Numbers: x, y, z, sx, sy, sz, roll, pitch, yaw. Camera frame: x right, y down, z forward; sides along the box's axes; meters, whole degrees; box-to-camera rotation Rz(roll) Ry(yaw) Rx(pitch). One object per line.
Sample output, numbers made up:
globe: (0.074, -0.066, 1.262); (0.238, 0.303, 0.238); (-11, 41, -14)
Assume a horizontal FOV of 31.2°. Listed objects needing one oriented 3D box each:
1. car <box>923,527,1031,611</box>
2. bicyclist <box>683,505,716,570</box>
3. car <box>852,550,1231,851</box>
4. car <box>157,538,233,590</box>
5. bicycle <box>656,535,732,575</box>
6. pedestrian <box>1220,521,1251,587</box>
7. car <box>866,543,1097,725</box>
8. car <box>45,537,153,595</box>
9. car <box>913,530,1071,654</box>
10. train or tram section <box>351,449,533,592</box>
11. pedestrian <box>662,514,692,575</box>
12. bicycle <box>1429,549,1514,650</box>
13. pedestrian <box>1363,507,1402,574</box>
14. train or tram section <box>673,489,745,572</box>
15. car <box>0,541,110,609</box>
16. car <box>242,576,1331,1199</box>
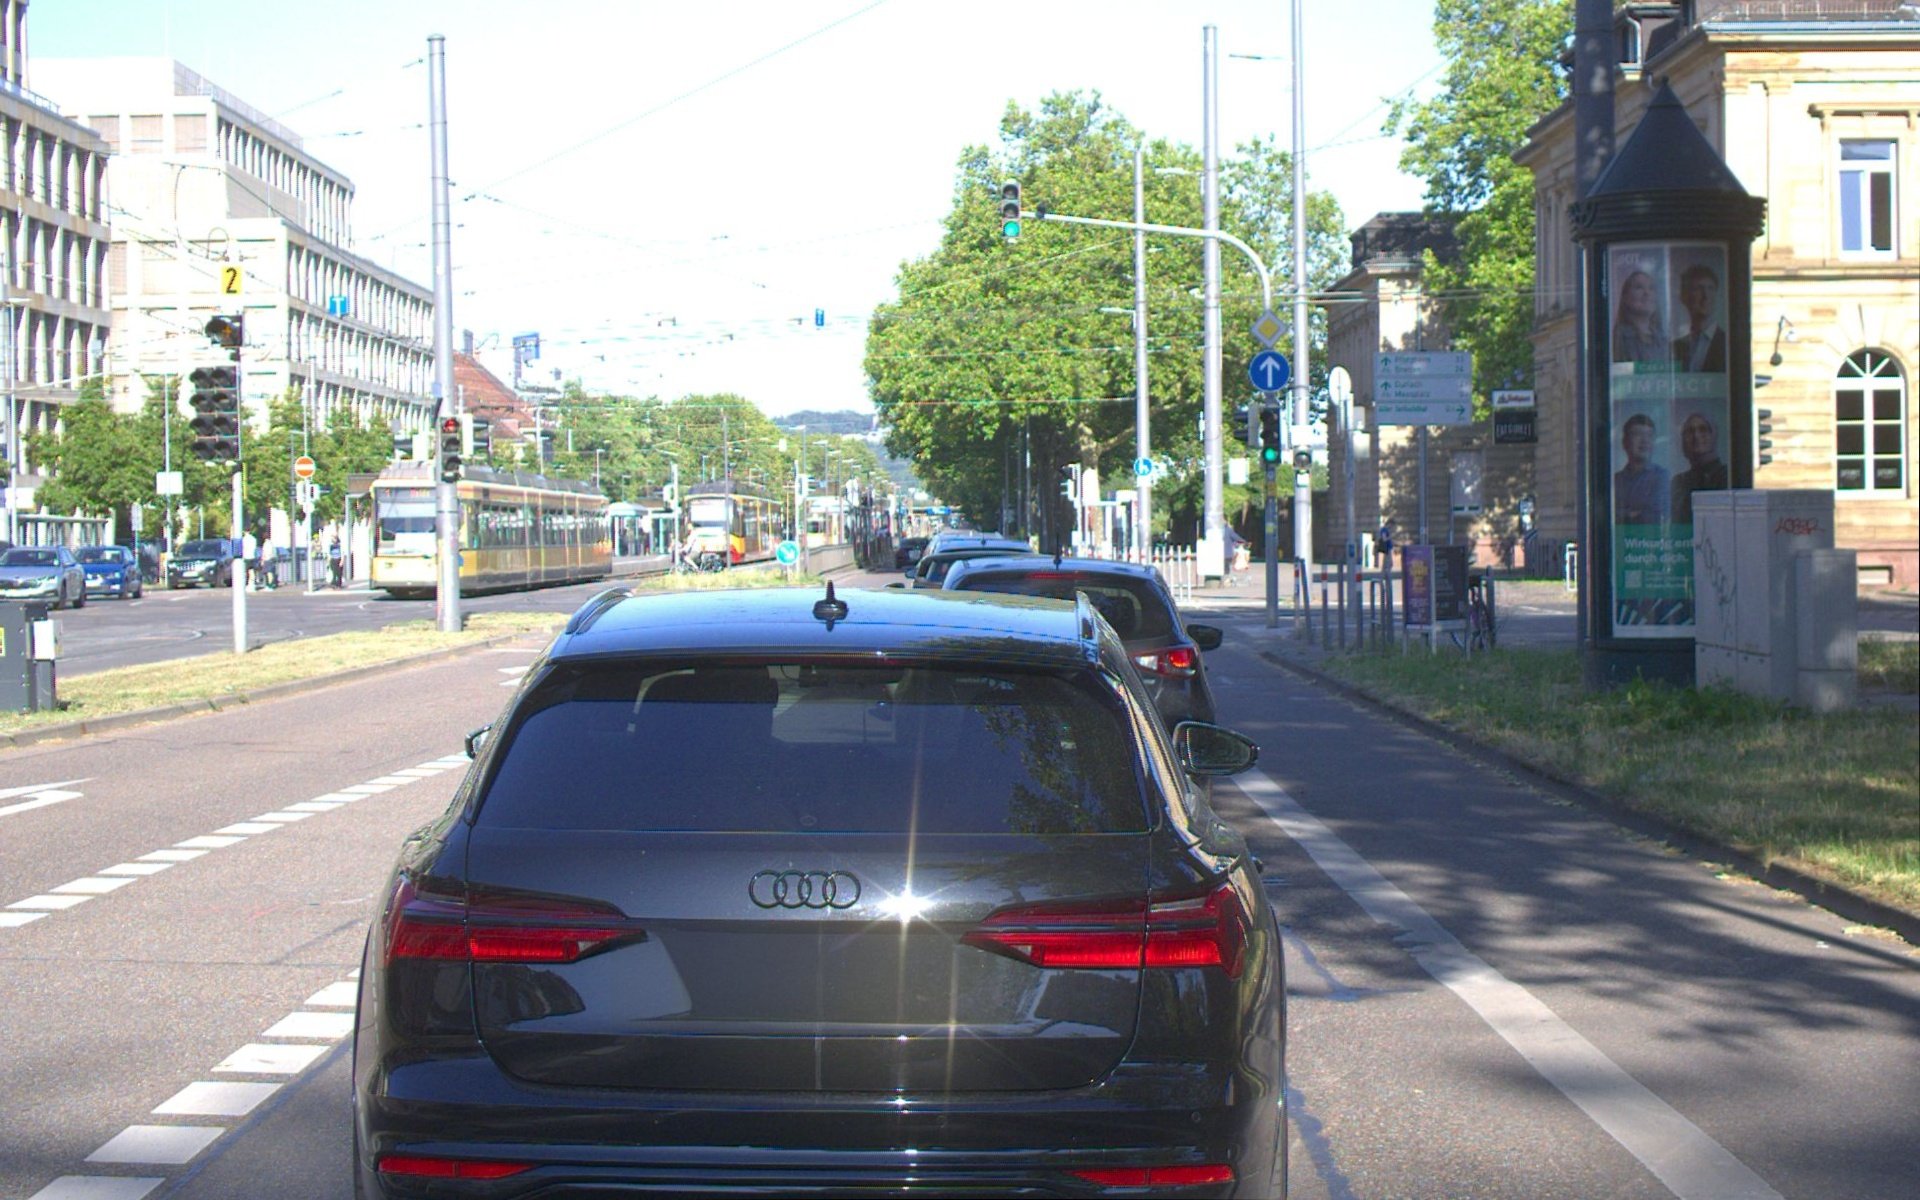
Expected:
car: (0.308, -0.587, 62.356); (1.902, 1.481, 4.145); (0, 1, 0)
bicyclist: (-7.344, -1.760, 96.876); (0.756, 1.812, 0.765); (-1, 1, -16)
car: (0.421, 0.476, 19.355); (1.902, 1.481, 4.145); (0, 1, 0)
car: (-27.453, -1.304, 123.546); (1.842, 1.806, 4.113); (-1, 1, -1)
bicycle: (-7.493, -1.268, 96.842); (2.005, 1.104, 0.765); (-1, 1, -16)
pedestrian: (6.986, -1.180, 87.223); (0.682, 1.655, 0.758); (-1, 1, -2)
car: (0.190, 0.244, 30.440); (1.902, 1.481, 4.145); (0, 1, 0)
car: (-22.661, -0.919, 90.590); (1.820, 1.452, 4.157); (-1, 1, -1)
car: (0.397, -0.138, 43.355); (1.902, 1.481, 4.145); (0, 1, 0)
train or tram section: (-13.531, -2.083, 90.972); (2.813, 3.477, 13.204); (-1, 1, 0)
pedestrian: (-8.098, -1.595, 98.324); (0.739, 1.735, 0.664); (-1, 1, -14)
bicycle: (5.579, -0.014, 37.579); (0.540, 1.058, 1.772); (-1, 1, -4)
pedestrian: (11.847, -1.671, 96.475); (0.979, 1.859, 0.827); (-1, 1, 1)
train or tram section: (-10.851, -3.018, 149.461); (2.608, 3.439, 11.134); (-1, 1, -2)
car: (-20.724, -0.581, 77.893); (1.820, 1.452, 4.541); (-1, 1, -1)
car: (-0.293, 0.683, 8.087); (1.902, 1.417, 4.145); (0, 1, 0)
